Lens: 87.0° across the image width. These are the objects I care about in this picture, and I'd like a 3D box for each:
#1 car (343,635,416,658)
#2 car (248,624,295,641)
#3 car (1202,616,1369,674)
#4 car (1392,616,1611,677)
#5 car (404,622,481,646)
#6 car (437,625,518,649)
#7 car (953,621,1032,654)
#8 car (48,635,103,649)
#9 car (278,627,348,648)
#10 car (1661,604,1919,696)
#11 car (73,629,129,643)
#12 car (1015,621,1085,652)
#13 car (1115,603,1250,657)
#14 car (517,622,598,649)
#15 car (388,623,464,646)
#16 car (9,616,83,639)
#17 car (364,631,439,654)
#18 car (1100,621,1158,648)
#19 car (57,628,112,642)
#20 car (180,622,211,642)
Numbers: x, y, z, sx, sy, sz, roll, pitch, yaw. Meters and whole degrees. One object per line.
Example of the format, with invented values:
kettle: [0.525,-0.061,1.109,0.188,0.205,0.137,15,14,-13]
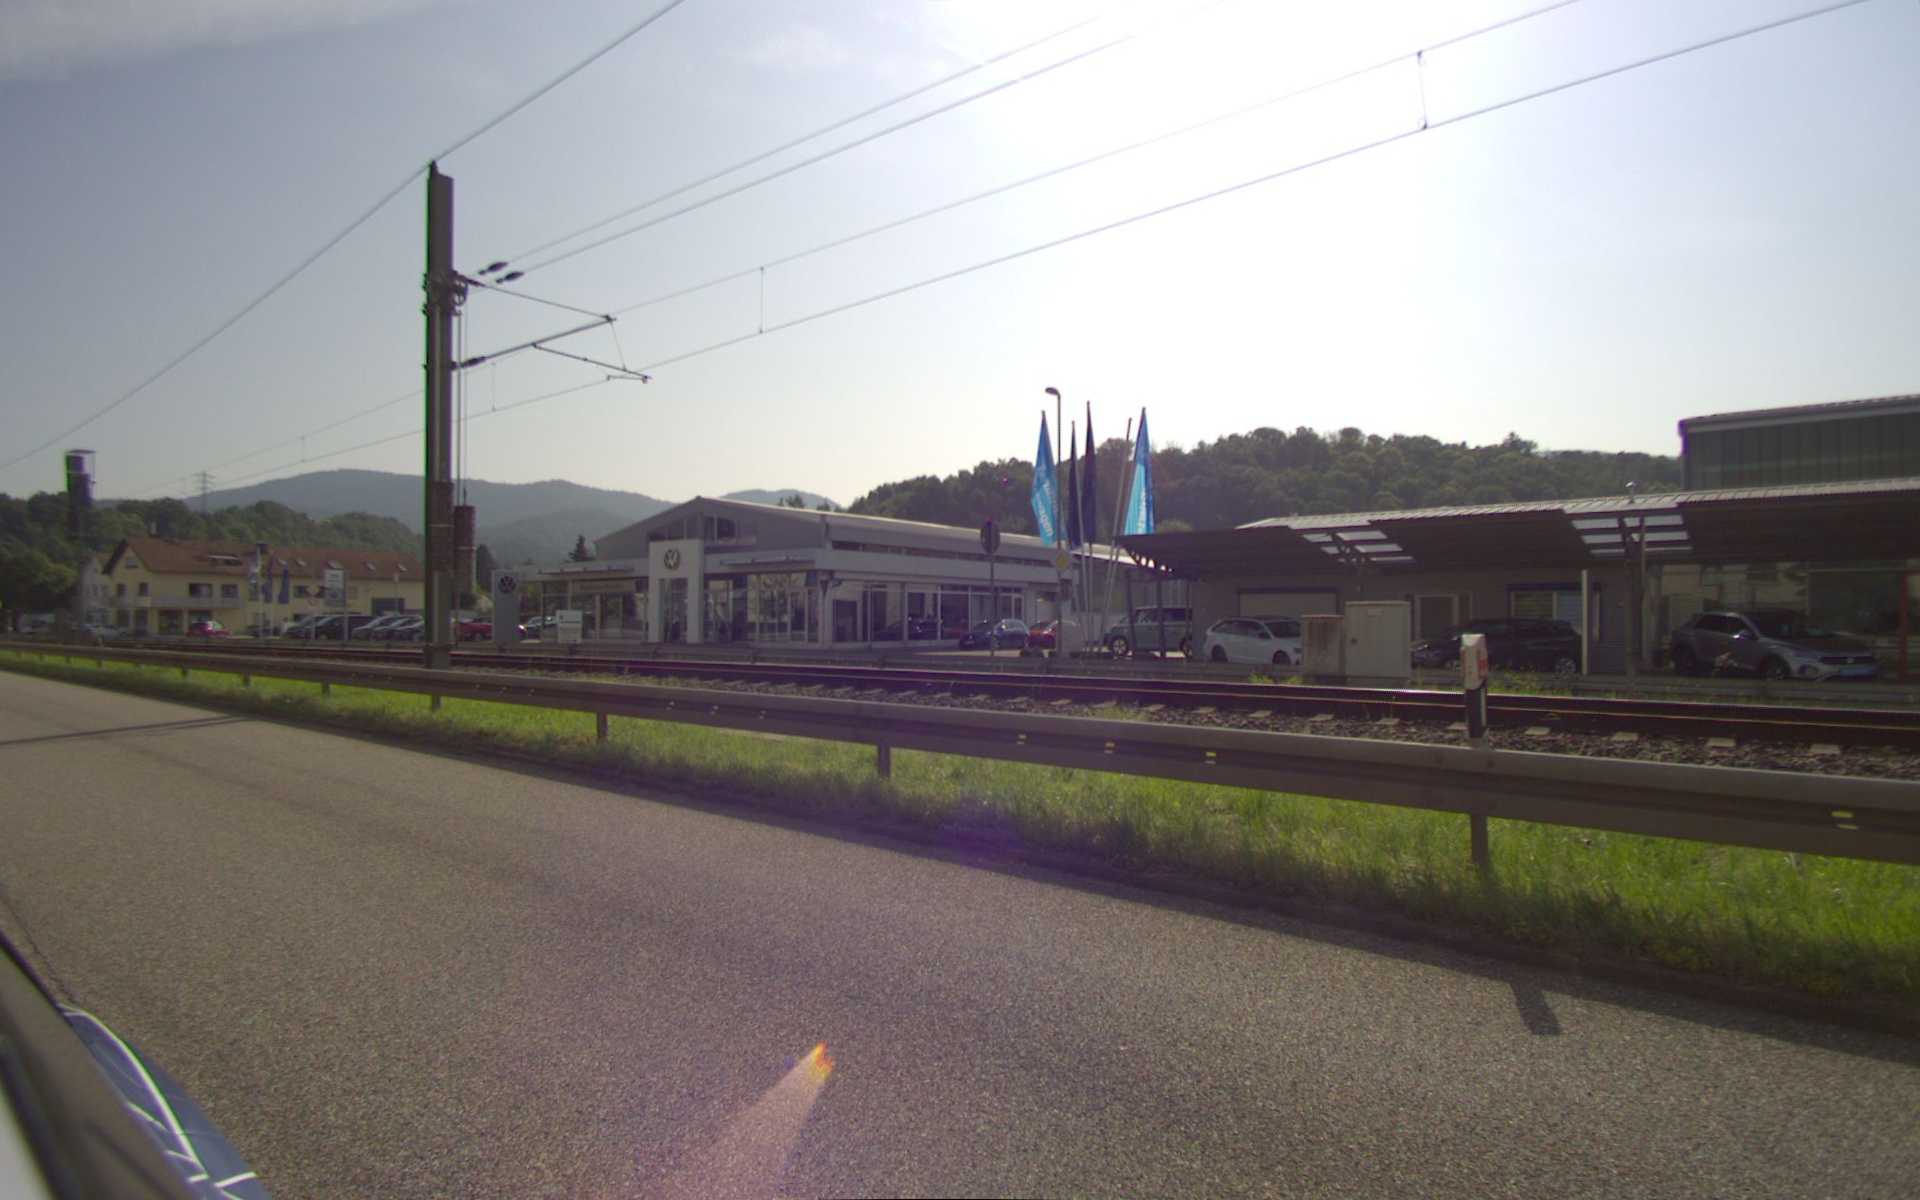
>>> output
car: [-39.720,3.150,69.288,1.758,1.471,3.949,-2,-2,38]
car: [-63.967,3.026,94.026,3.487,1.588,1.653,1,-2,-31]
car: [8.511,1.152,26.907,1.815,1.396,4.537,0,-1,-20]
car: [12.711,1.074,23.958,4.149,1.352,1.847,0,-1,0]
car: [-32.010,2.088,62.732,1.752,1.471,3.963,-1,-2,27]
car: [-28.622,2.196,60.121,1.855,1.385,3.955,-1,-2,33]
car: [1.491,1.670,45.706,1.616,1.431,3.951,-1,-2,36]
car: [-87.829,4.131,100.564,1.644,1.309,3.815,-1,-2,33]
car: [-47.159,2.718,73.771,1.758,1.471,3.949,-2,-2,38]
car: [16.705,0.920,20.637,1.821,1.539,4.271,-2,1,0]
car: [-82.946,3.442,97.780,1.644,1.309,3.815,-1,-2,33]
car: [4.471,1.771,49.837,1.616,1.431,3.951,-1,-2,36]
car: [8.175,1.094,37.424,4.550,1.872,1.879,-1,-2,40]
car: [-23.060,2.025,58.101,1.858,1.471,3.949,-2,-2,38]
car: [-34.338,2.216,65.111,1.758,1.471,3.949,-2,-2,38]
car: [-98.285,2.956,108.910,2.232,2.435,5.523,-1,-2,35]
car: [-36.946,2.790,67.011,1.758,1.471,3.949,-2,-2,38]
car: [9.485,1.901,56.723,1.616,1.431,3.951,-1,-2,36]
car: [-85.737,3.418,99.167,1.644,1.309,3.815,-1,-2,33]
car: [-59.552,2.497,78.828,1.831,1.471,4.007,1,-2,-39]
